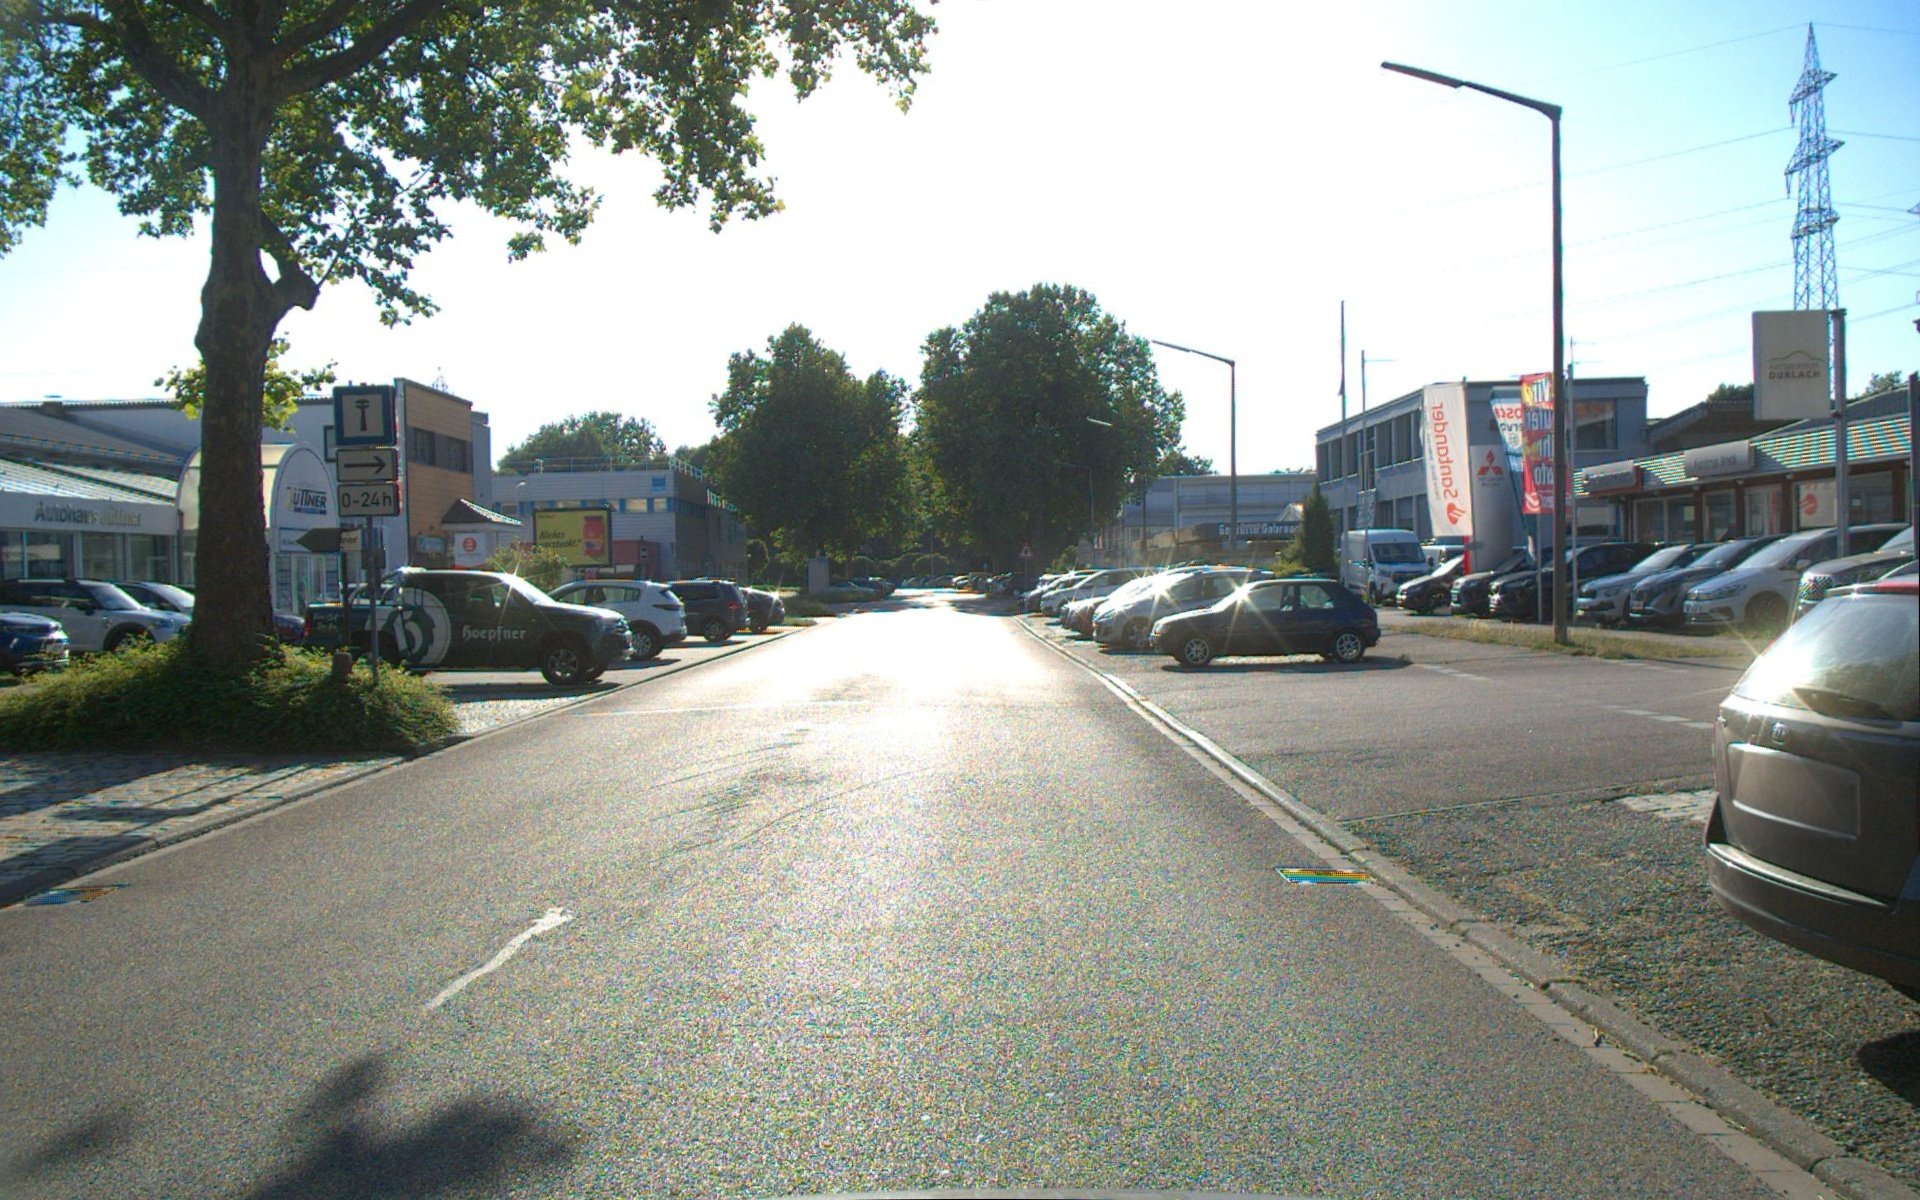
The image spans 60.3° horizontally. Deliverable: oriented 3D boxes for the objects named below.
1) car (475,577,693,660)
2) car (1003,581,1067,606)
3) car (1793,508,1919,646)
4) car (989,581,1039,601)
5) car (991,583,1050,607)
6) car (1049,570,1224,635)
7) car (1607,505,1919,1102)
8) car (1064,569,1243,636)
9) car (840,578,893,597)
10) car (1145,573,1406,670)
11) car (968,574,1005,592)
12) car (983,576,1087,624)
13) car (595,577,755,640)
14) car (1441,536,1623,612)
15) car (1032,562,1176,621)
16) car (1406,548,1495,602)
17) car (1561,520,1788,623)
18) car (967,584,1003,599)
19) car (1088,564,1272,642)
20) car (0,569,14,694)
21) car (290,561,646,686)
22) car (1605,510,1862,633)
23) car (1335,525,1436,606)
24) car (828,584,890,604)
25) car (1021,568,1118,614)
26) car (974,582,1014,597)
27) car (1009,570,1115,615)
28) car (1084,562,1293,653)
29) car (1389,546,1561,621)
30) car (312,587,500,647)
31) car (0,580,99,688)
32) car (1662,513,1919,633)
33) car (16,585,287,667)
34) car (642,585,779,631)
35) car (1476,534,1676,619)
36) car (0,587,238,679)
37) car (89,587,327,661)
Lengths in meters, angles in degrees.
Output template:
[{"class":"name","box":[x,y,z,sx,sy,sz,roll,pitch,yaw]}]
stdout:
[{"class":"car","box":[-7.950,0.378,35.312,4.217,1.685,2.200,0,0,-3]},{"class":"car","box":[4.667,-0.389,103.727,3.906,1.440,2.000,-2,0,-1]},{"class":"car","box":[15.021,-0.326,24.354,4.404,1.932,2.201,0,0,-1]},{"class":"car","box":[4.266,-0.708,131.948,3.906,1.440,1.827,-2,0,-1]},{"class":"car","box":[4.042,-0.330,111.065,3.906,1.440,1.827,-2,0,-1]},{"class":"car","box":[4.649,0.063,44.112,4.347,1.461,2.135,-3,0,-1]},{"class":"car","box":[4.829,0.386,5.465,4.508,1.641,2.000,-5,0,-1]},{"class":"car","box":[4.789,0.052,41.265,4.162,1.633,1.743,0,0,-8]},{"class":"car","box":[-7.844,-1.042,139.277,4.324,1.543,2.000,0,0,1]},{"class":"car","box":[5.062,0.335,26.933,3.904,1.318,1.784,-3,0,2]},{"class":"car","box":[2.922,-1.886,182.305,3.906,1.808,1.827,-2,0,-1]},{"class":"car","box":[3.005,0.006,65.467,3.902,1.641,2.002,-3,0,7]},{"class":"car","box":[-7.872,0.224,46.010,4.146,1.684,2.200,0,0,-3]},{"class":"car","box":[14.623,-0.651,42.438,3.906,1.688,2.000,-3,0,0]},{"class":"car","box":[4.796,-0.277,55.587,4.465,1.625,2.200,-4,0,-3]},{"class":"car","box":[17.247,-0.869,58.315,1.953,1.830,4.000,0,0,0]},{"class":"car","box":[14.552,-0.555,33.814,3.823,1.932,1.786,-1,-2,-1]},{"class":"car","box":[2.694,-0.941,179.426,3.906,1.440,1.827,-2,0,-1]},{"class":"car","box":[5.154,0.063,39.068,4.028,1.770,1.882,0,0,-4]},{"class":"car","box":[-16.472,0.470,23.684,4.650,1.851,1.999,0,0,-2]},{"class":"car","box":[-7.927,0.371,27.063,5.152,1.932,2.201,0,0,-1]},{"class":"car","box":[14.535,-0.537,31.265,3.723,1.931,2.202,-5,1,-1]},{"class":"car","box":[14.765,-1.139,57.767,1.953,2.671,6.137,0,0,0]},{"class":"car","box":[-7.091,-0.420,116.058,4.330,1.427,1.998,0,0,-6]},{"class":"car","box":[4.662,-0.380,70.859,3.908,1.681,1.741,-4,0,-3]},{"class":"car","box":[3.432,-1.058,166.538,3.906,1.440,1.827,-2,0,-1]},{"class":"car","box":[4.536,-0.329,73.950,4.435,1.702,1.752,-4,0,-4]},{"class":"car","box":[4.659,0.137,34.056,3.909,1.615,1.866,-3,0,-4]},{"class":"car","box":[14.150,-0.449,45.593,4.060,1.802,2.000,-3,0,0]},{"class":"car","box":[-16.215,0.482,48.601,4.844,1.718,1.999,0,0,-3]},{"class":"car","box":[-16.658,0.533,26.522,4.618,1.662,1.999,0,0,-2]},{"class":"car","box":[14.606,-0.502,28.763,3.853,1.931,2.202,-1,3,-1]},{"class":"car","box":[-16.435,0.515,33.800,4.567,1.620,1.928,0,0,-2]},{"class":"car","box":[-8.169,0.263,54.447,4.227,1.485,2.200,0,0,-3]},{"class":"car","box":[14.447,-0.537,38.946,3.906,1.726,2.000,-3,0,0]},{"class":"car","box":[-16.433,0.605,31.327,4.623,1.671,1.999,0,0,-2]},{"class":"car","box":[-16.475,0.509,36.390,4.373,1.580,1.836,0,0,-2]}]
